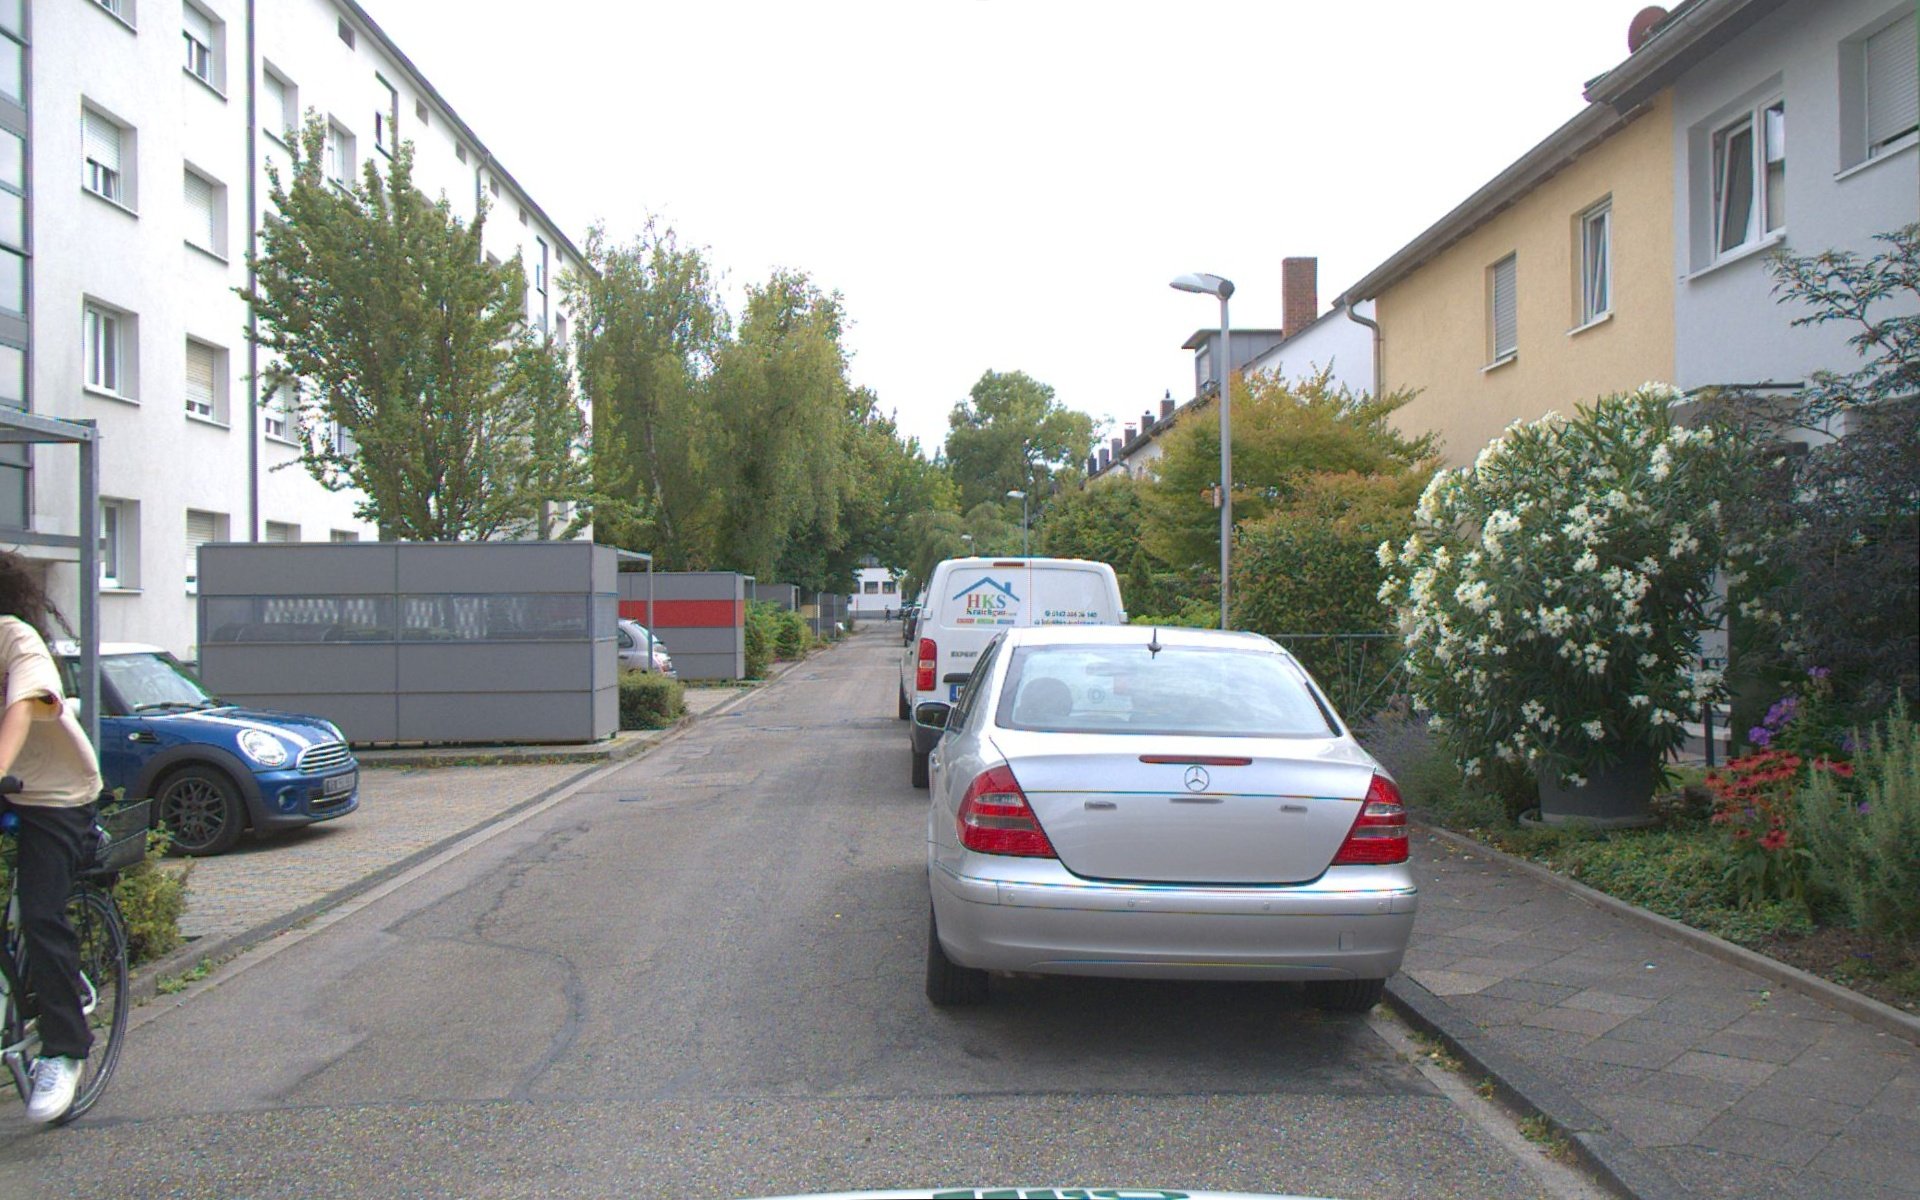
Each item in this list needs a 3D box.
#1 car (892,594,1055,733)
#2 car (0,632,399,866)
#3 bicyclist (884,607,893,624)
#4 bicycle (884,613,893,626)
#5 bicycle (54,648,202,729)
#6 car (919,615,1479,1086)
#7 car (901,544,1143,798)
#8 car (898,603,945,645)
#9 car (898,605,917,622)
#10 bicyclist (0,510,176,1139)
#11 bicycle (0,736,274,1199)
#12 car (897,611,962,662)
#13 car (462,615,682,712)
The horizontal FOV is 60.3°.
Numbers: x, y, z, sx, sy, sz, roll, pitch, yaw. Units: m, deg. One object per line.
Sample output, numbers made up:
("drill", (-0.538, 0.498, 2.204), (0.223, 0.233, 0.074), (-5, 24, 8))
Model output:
("car", (0.080, 0.787, 22.131), (1.789, 1.664, 4.157), (1, 0, -5))
("car", (-6.122, 1.036, 11.899), (3.560, 1.487, 1.653), (-2, -1, 1))
("bicyclist", (-6.519, 1.419, 150.467), (0.782, 1.537, 0.934), (1, -1, 0))
("bicycle", (-6.520, 1.752, 150.305), (0.675, 1.151, 2.579), (1, -1, 0))
("bicycle", (-11.609, 1.219, 23.113), (1.796, 1.042, 0.472), (0, 0, -43))
("car", (0.736, 0.807, 7.413), (1.747, 1.446, 4.454), (1, 0, -1))
("car", (0.406, 0.582, 15.769), (1.865, 1.999, 5.250), (1, 0, -3))
("car", (-1.610, 0.955, 67.797), (1.789, 1.609, 3.997), (1, 0, -3))
("car", (-5.225, 1.314, 165.238), (1.788, 1.609, 3.999), (1, 0, -2))
("bicyclist", (-2.688, 0.586, 4.624), (0.585, 1.608, 0.767), (-2, -1, -1))
("bicycle", (-2.675, 1.025, 4.700), (0.585, 1.095, 2.042), (-2, 0, -1))
("car", (-0.919, 1.043, 48.837), (1.788, 1.394, 4.329), (1, 0, -2))
("car", (-6.674, 1.070, 28.746), (3.494, 1.506, 1.708), (-2, 0, -7))
